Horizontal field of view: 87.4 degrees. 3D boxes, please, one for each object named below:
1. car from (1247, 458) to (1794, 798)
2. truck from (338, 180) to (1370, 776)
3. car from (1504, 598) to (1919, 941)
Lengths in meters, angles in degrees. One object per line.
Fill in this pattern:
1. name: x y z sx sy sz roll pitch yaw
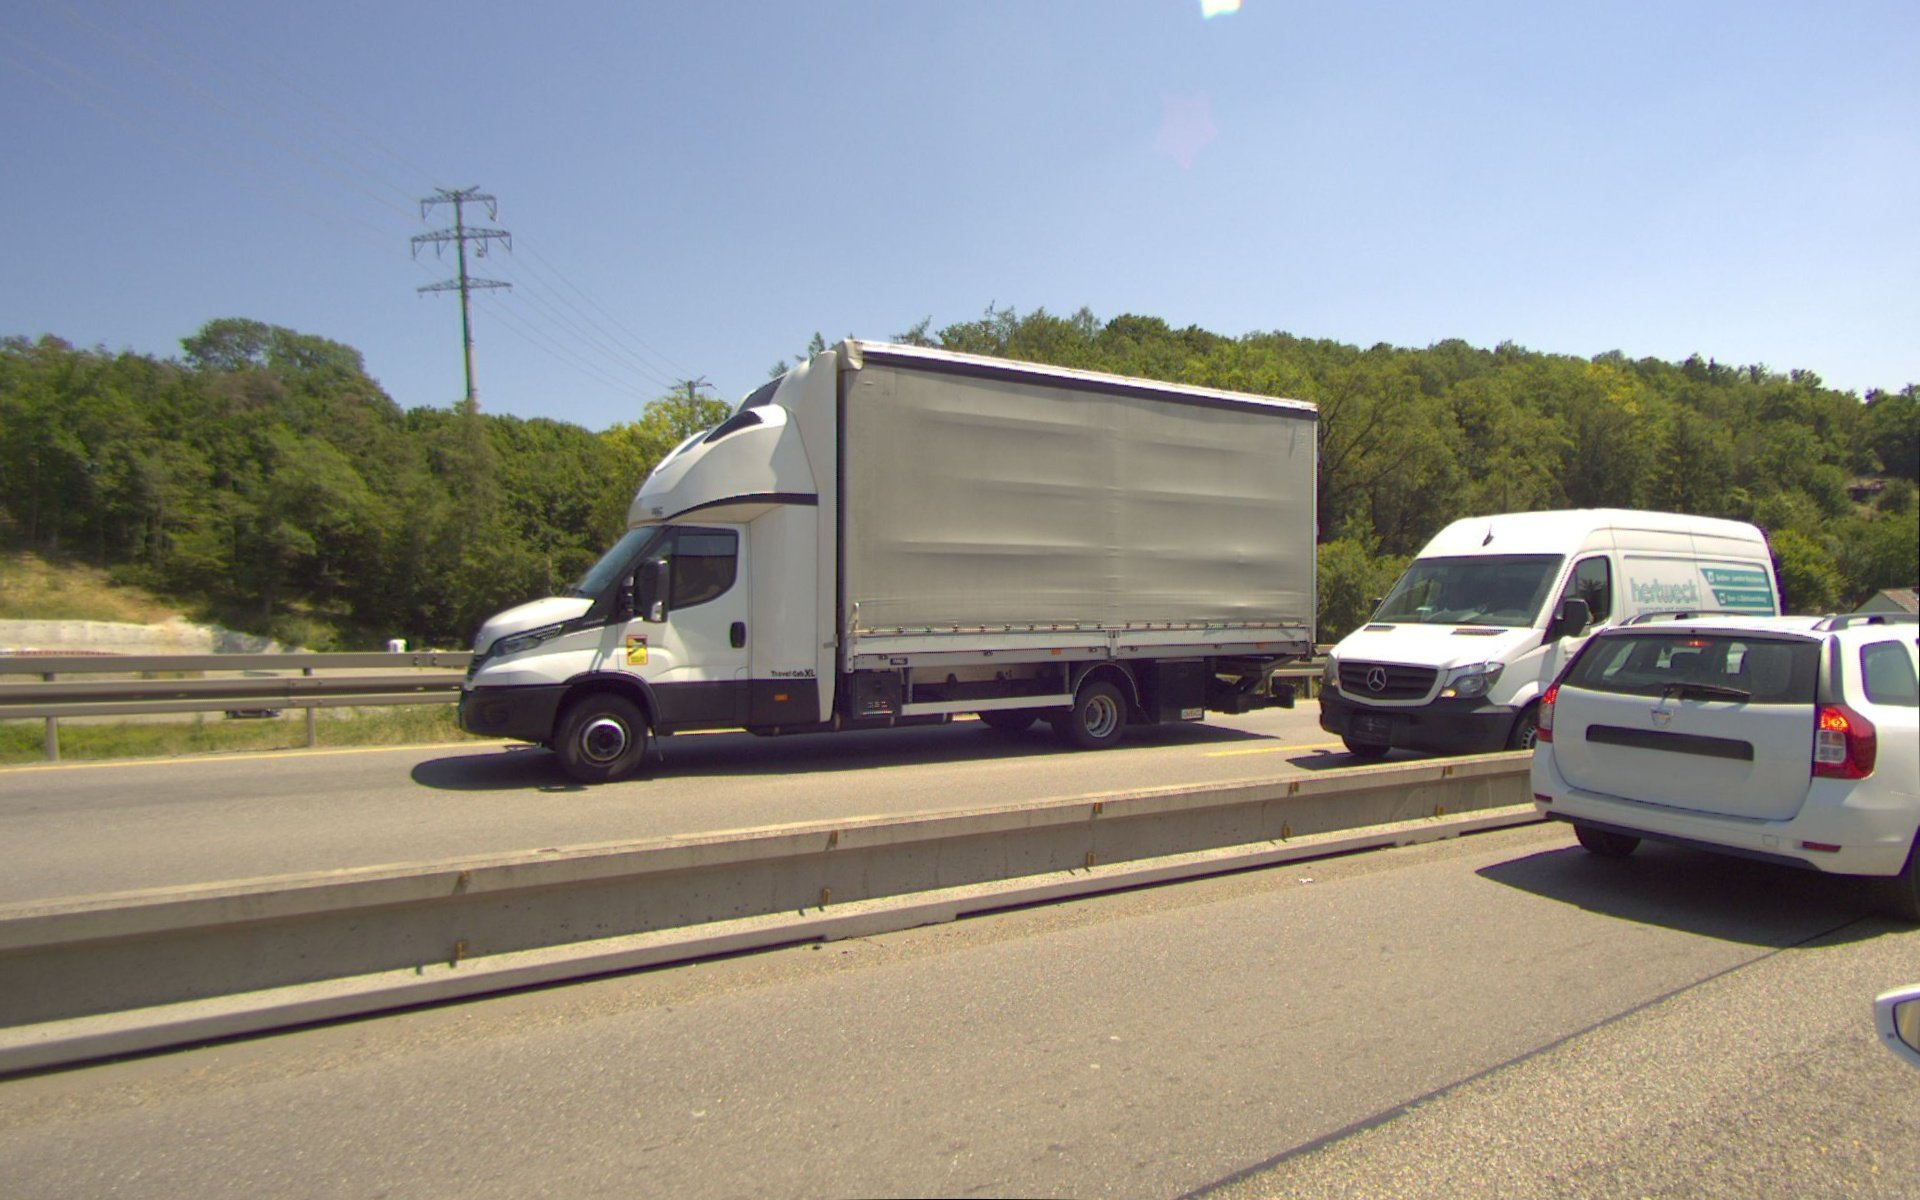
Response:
1. car: 6.116 0.318 10.549 6.584 2.715 1.960 2 -1 -31
2. truck: -0.331 -0.695 10.656 10.427 4.053 2.787 2 0 -30
3. car: 5.401 0.825 6.199 4.216 1.503 1.644 2 -2 -30
